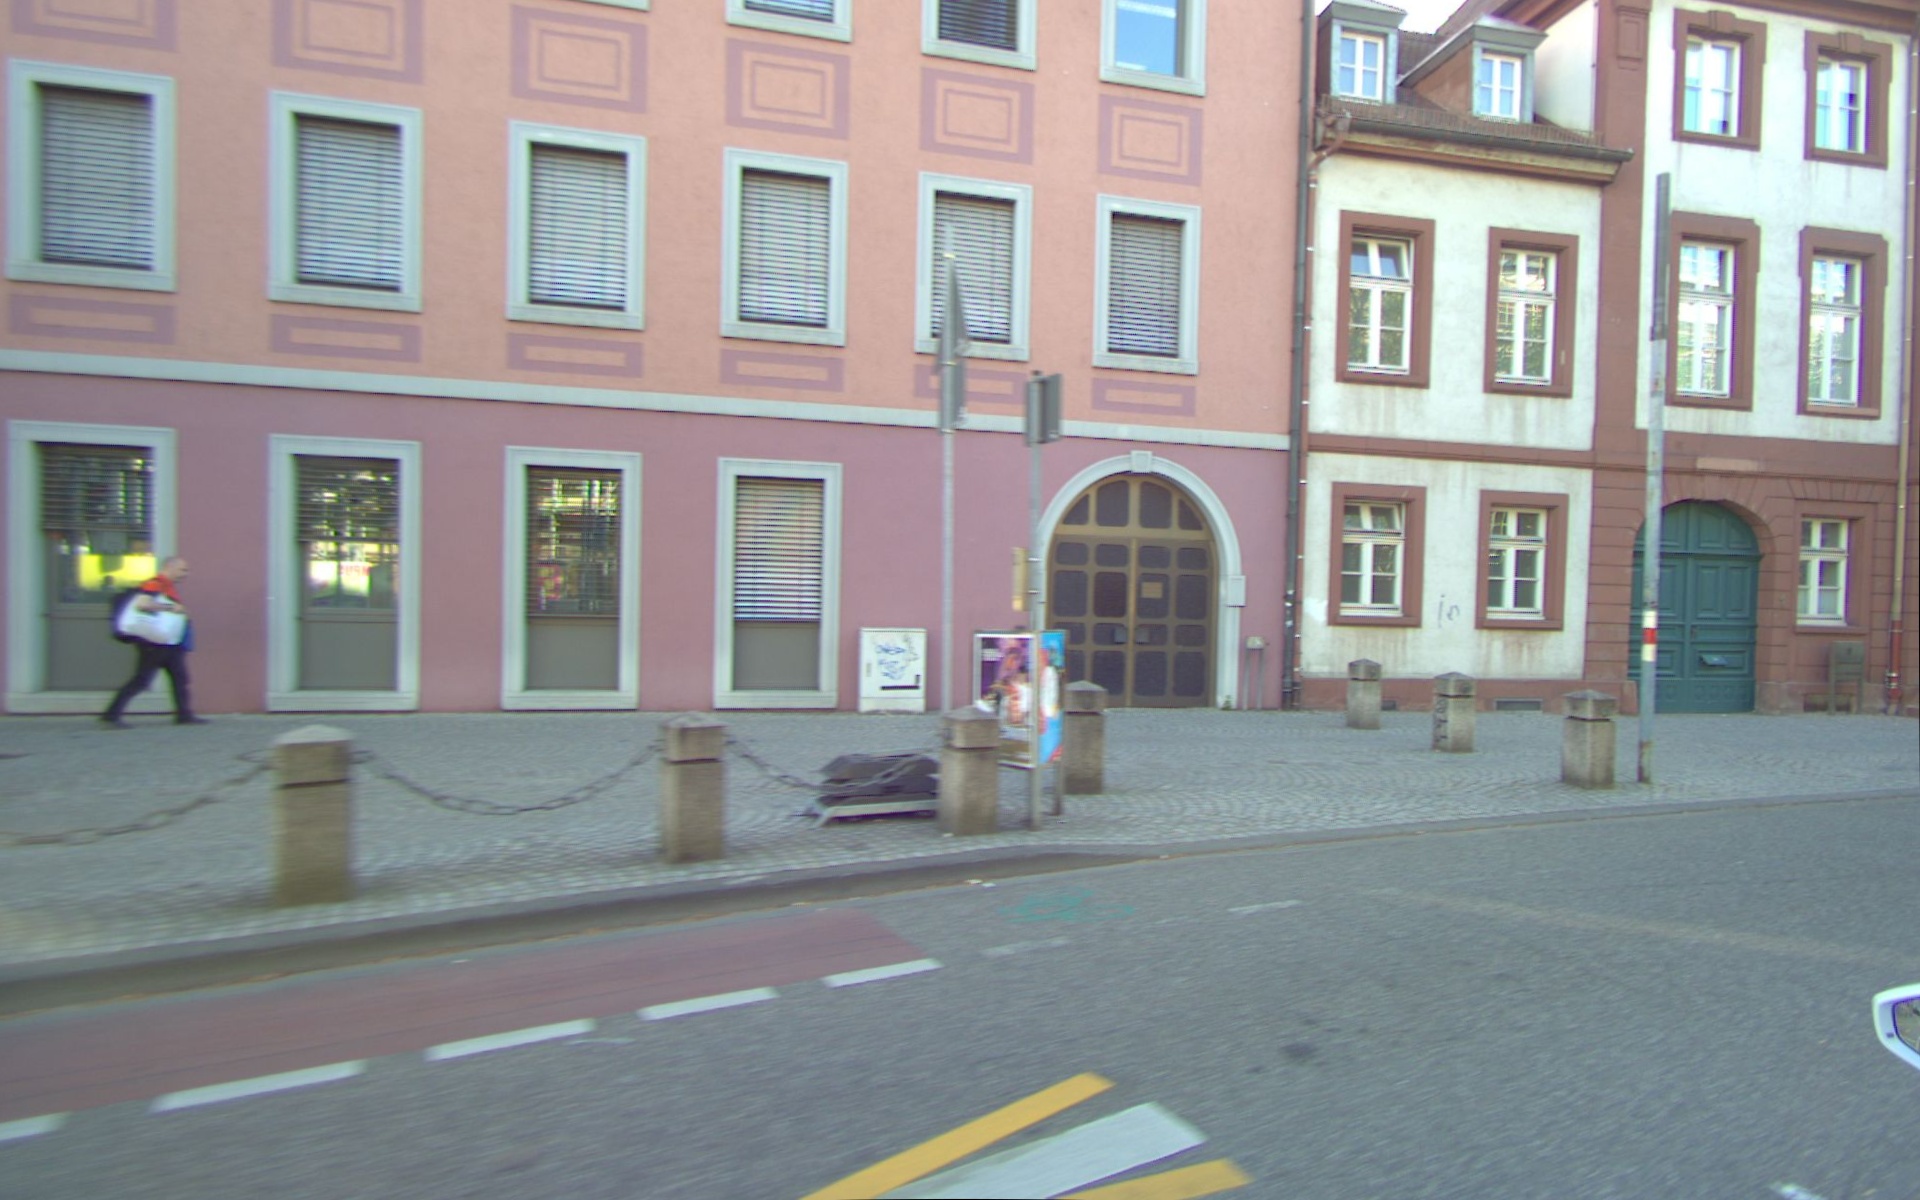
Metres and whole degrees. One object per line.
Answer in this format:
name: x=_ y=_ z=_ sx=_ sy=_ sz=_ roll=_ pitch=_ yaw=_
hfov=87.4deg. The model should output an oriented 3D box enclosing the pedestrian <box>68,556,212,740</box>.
pedestrian: x=-7.986 y=0.444 z=9.829 sx=0.855 sy=1.711 sz=0.790 roll=1 pitch=2 yaw=-18
